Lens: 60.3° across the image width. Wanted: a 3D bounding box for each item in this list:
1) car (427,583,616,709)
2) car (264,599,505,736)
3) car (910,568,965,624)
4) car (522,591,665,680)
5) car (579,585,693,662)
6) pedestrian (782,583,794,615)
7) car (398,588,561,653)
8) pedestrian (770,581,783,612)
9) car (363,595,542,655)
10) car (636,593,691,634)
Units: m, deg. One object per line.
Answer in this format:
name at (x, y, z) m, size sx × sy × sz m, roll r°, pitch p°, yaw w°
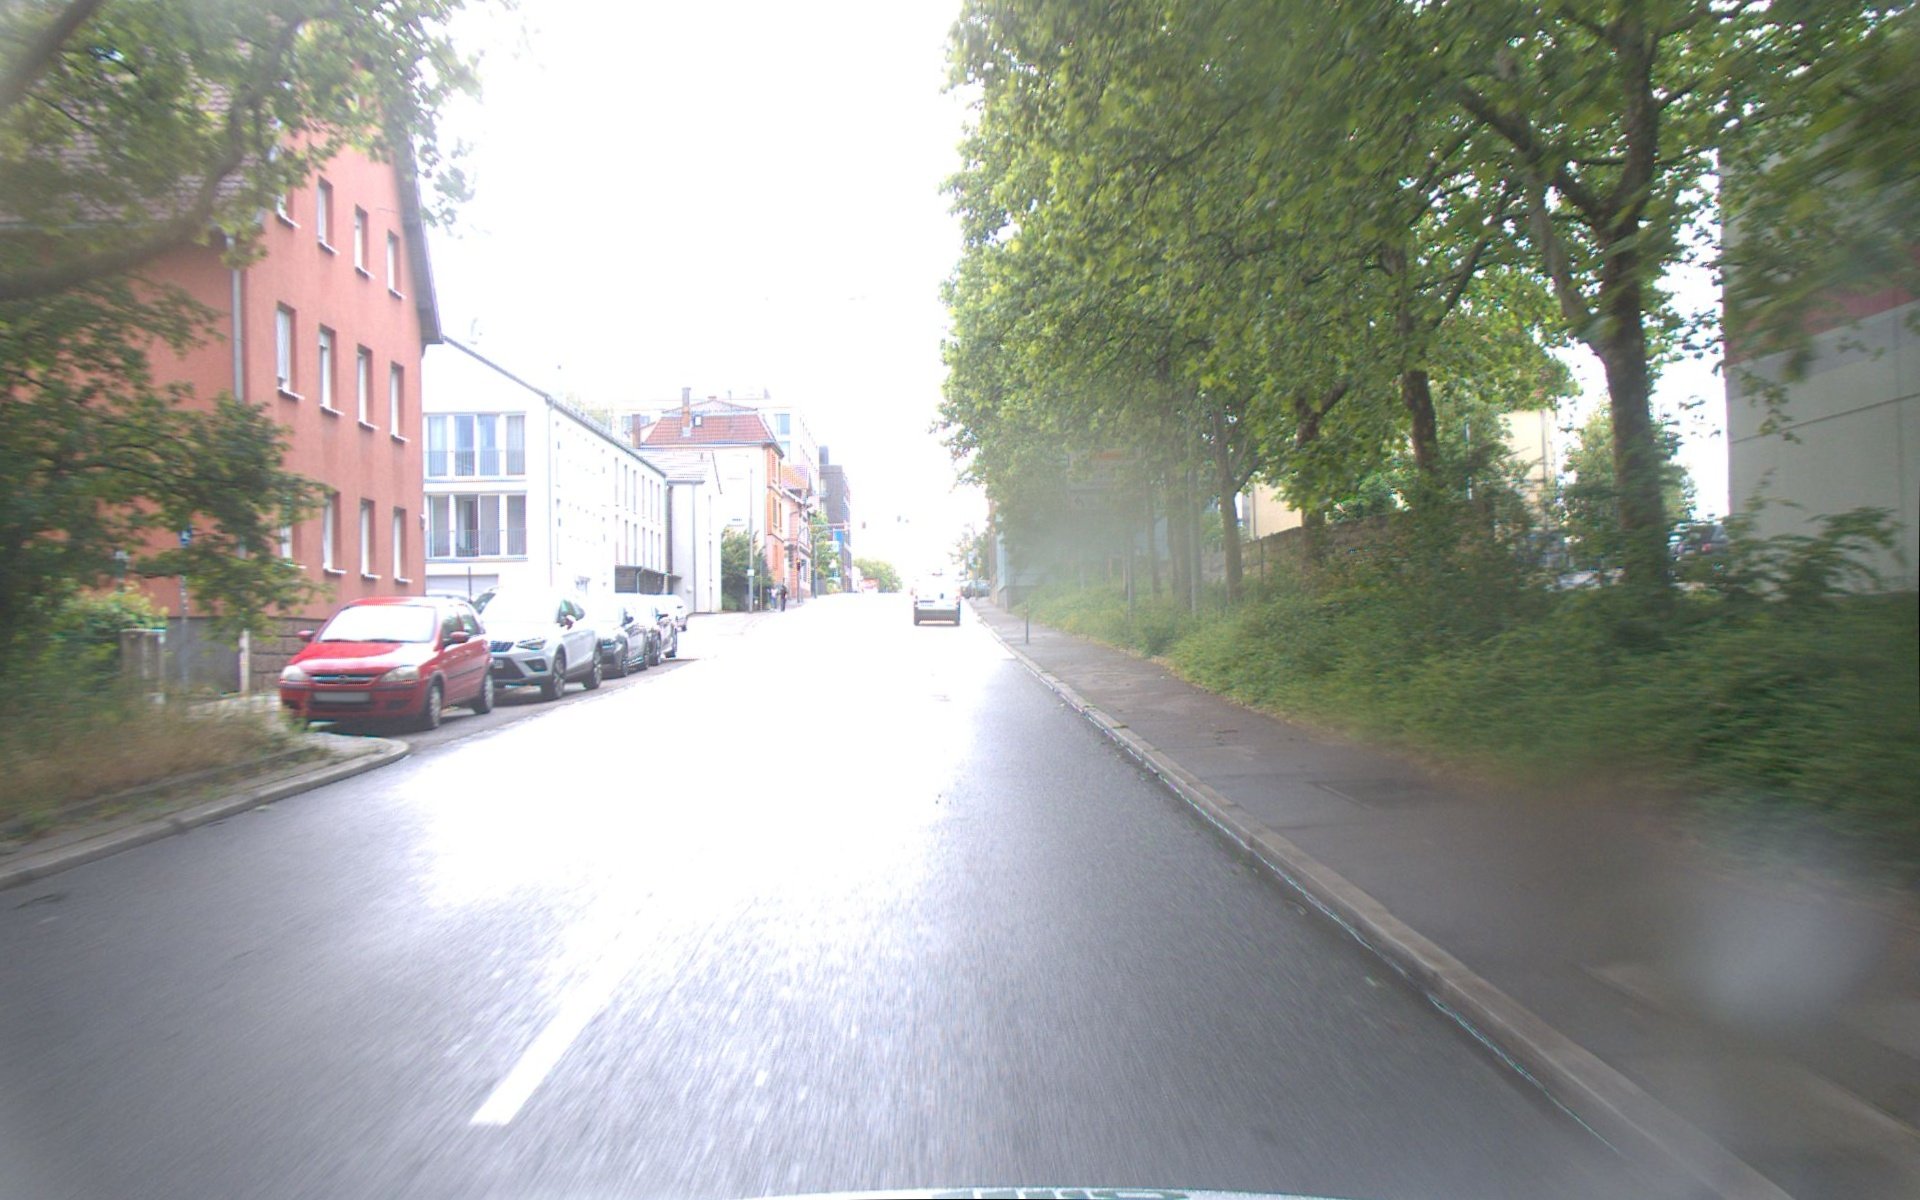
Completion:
car at (-6.355, 0.595, 24.425) m, size 1.657 × 1.569 × 4.117 m, roll -3°, pitch 1°, yaw -1°
car at (-6.482, 0.701, 19.018) m, size 1.606 × 1.397 × 3.757 m, roll 0°, pitch 0°, yaw -3°
car at (-0.966, -0.147, 71.908) m, size 2.288 × 2.270 × 3.999 m, roll -2°, pitch -1°, yaw 0°
car at (-6.678, 0.598, 30.525) m, size 1.708 × 1.508 × 4.385 m, roll 0°, pitch 0°, yaw -1°
car at (-6.890, 0.483, 35.547) m, size 1.601 × 1.508 × 4.358 m, roll 1°, pitch 0°, yaw -1°
pedestrian at (-11.291, -0.070, 108.702) m, size 0.657 × 2.049 × 0.942 m, roll 0°, pitch 0°, yaw 3°
car at (-13.842, 0.575, 47.818) m, size 4.063 × 1.727 × 2.001 m, roll -1°, pitch 0°, yaw 2°
pedestrian at (-12.054, -0.248, 108.711) m, size 0.657 × 2.049 × 0.942 m, roll 0°, pitch 0°, yaw 3°
car at (-13.779, 0.654, 45.121) m, size 4.202 × 1.488 × 2.068 m, roll -1°, pitch 0°, yaw -1°
car at (-12.002, 0.518, 67.191) m, size 1.634 × 1.556 × 4.093 m, roll -1°, pitch 0°, yaw -3°
